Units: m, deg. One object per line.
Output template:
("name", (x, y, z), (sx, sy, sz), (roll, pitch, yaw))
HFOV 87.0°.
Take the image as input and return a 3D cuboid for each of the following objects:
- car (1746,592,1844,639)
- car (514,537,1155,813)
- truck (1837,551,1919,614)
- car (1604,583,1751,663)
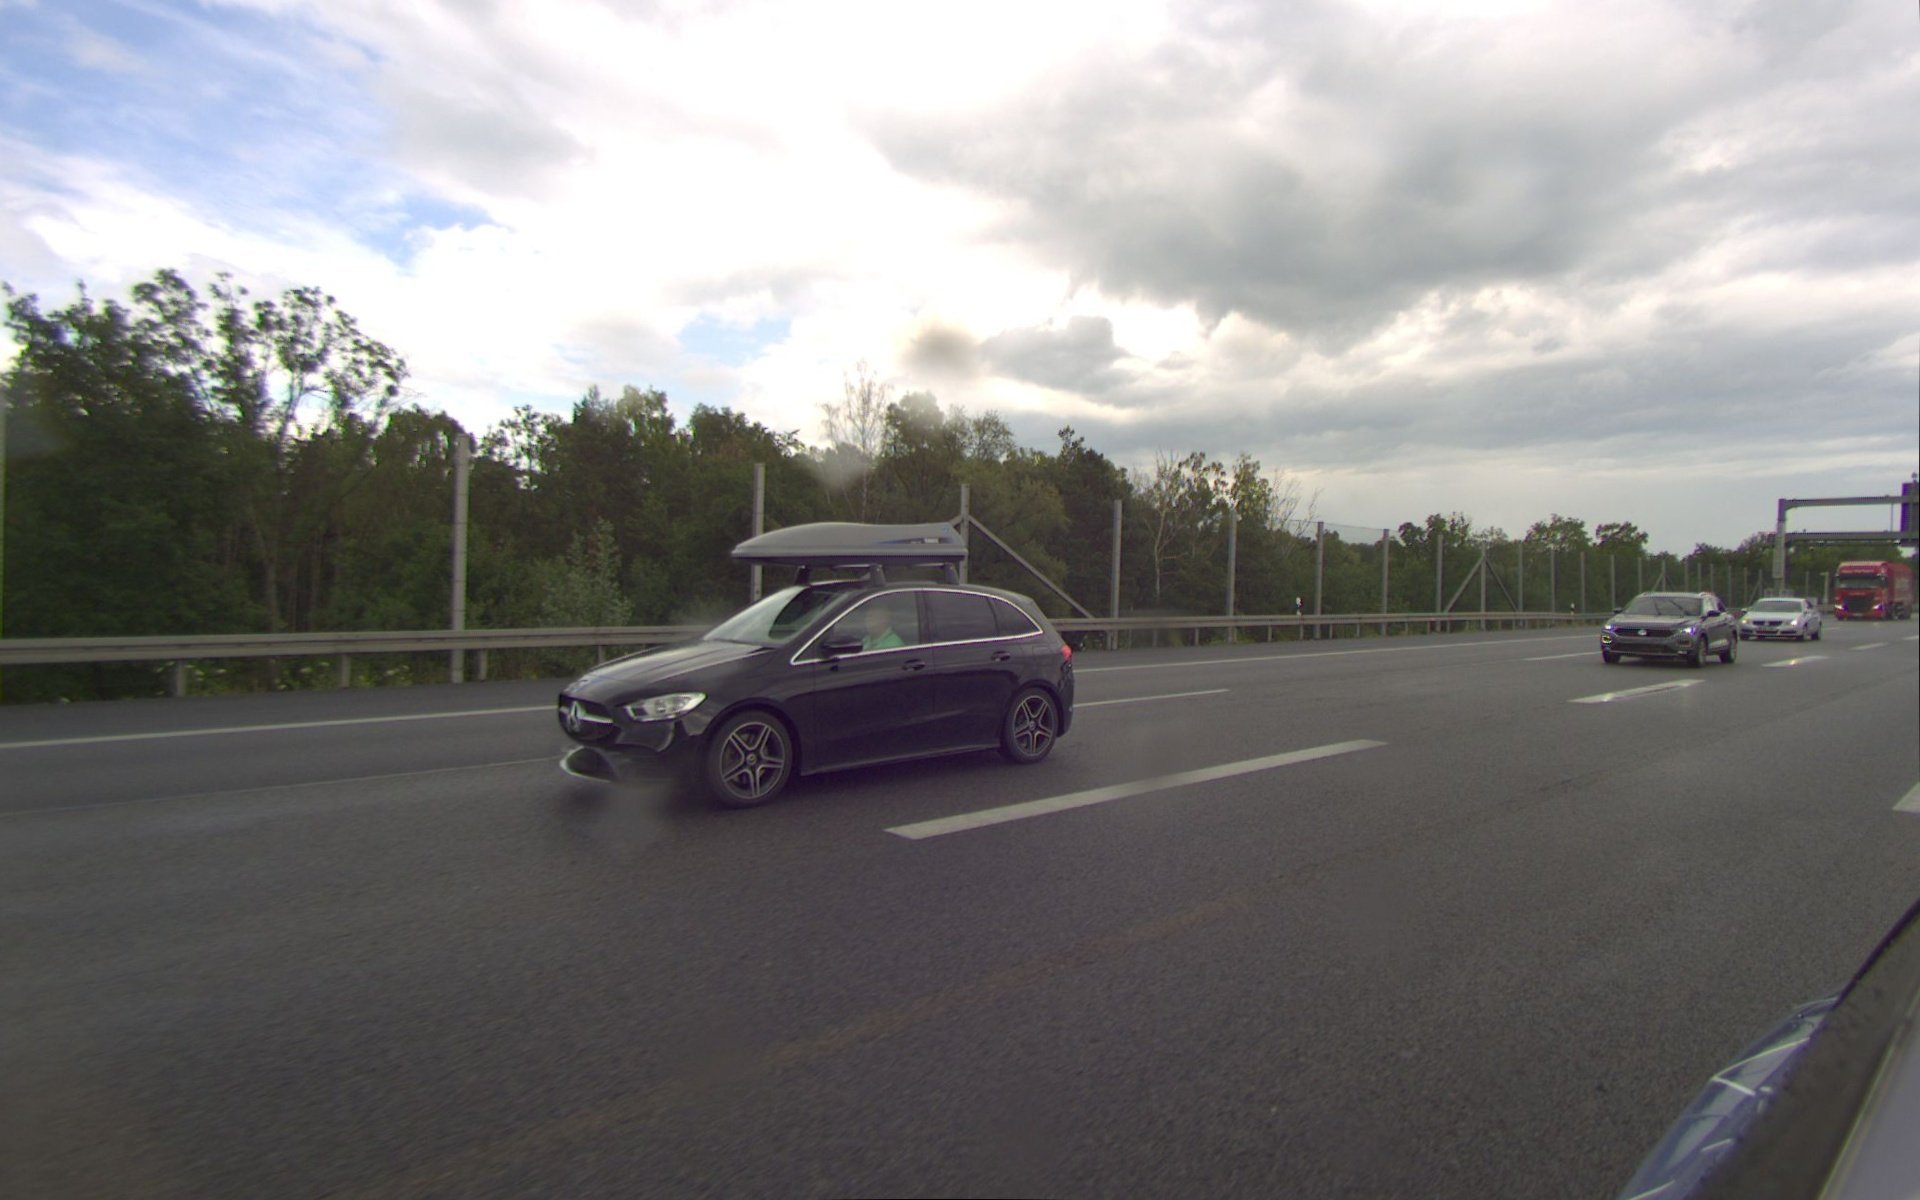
("car", (28.449, 0.485, 34.456), (4.171, 1.465, 1.897), (0, 1, -41))
("car", (-0.771, 0.447, 8.417), (4.977, 1.626, 2.108), (1, 0, -42))
("truck", (65.265, -1.065, 71.103), (15.358, 4.054, 3.159), (1, 0, -40))
("car", (15.617, 0.446, 21.975), (3.656, 1.582, 1.795), (0, 0, -41))
